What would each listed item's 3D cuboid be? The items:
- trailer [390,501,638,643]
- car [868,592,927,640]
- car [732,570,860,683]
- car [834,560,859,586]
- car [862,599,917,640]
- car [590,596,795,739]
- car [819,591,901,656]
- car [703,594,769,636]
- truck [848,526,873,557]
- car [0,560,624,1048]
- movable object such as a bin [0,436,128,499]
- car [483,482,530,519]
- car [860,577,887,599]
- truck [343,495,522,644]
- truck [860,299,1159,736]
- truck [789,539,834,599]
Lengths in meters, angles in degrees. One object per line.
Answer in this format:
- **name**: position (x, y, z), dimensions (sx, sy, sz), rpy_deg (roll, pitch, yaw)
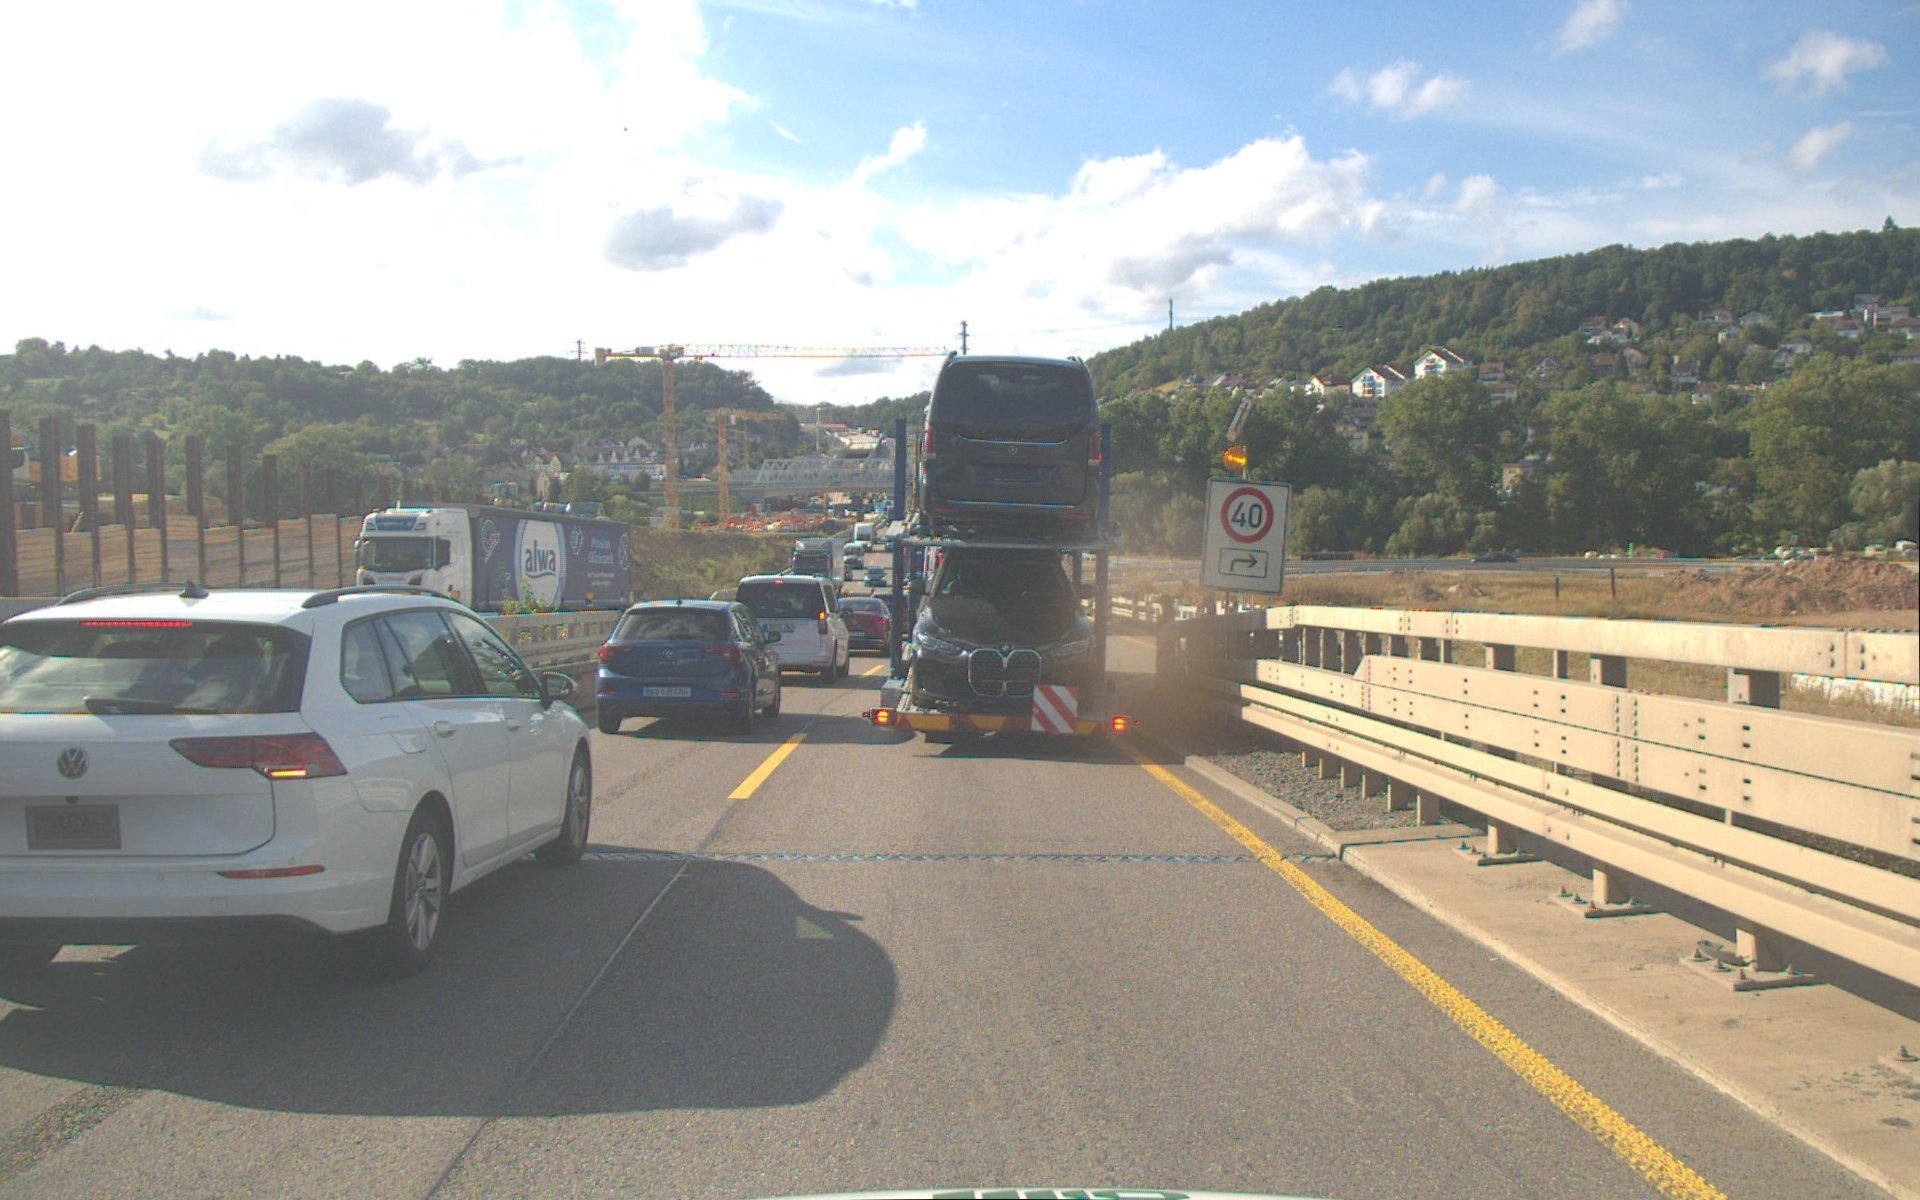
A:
- **trailer**: position (-14.718, -0.766, 56.461), dimensions (2.630, 4.229, 13.823), rpy_deg (1, -1, 9)
- **car**: position (-2.136, 0.553, 57.651), dimensions (1.953, 1.579, 3.999), rpy_deg (1, -1, -1)
- **car**: position (-2.824, 0.456, 29.218), dimensions (1.785, 1.823, 4.000), rpy_deg (1, -1, 1)
- **car**: position (-11.487, -2.759, 167.794), dimensions (2.213, 2.444, 5.864), rpy_deg (1, -1, -2)
- **car**: position (-2.817, 0.784, 66.798), dimensions (1.952, 1.579, 4.000), rpy_deg (1, -1, 1)
- **car**: position (-2.998, 0.709, 19.325), dimensions (1.686, 1.447, 4.000), rpy_deg (2, 0, 0)
- **car**: position (-2.553, 0.599, 43.189), dimensions (1.953, 1.584, 4.399), rpy_deg (1, -1, -1)
- **car**: position (-9.898, 0.665, 73.430), dimensions (1.883, 1.798, 4.329), rpy_deg (1, -1, 6)
- **truck**: position (-12.022, -7.086, 200.380), dimensions (2.645, 3.369, 7.536), rpy_deg (1, -1, 0)
- **car**: position (-2.849, 0.668, 7.454), dimensions (1.734, 1.517, 4.516), rpy_deg (-1, -1, 0)
- **movable object such as a bin**: position (-53.650, -7.855, 98.523), dimensions (5.623, 3.328, 4.514), rpy_deg (1, -1, 11)
- **car**: position (-33.369, -7.309, 121.914), dimensions (1.953, 2.177, 5.320), rpy_deg (-4, 0, -1)
- **car**: position (-7.161, -0.956, 137.353), dimensions (1.952, 1.757, 4.122), rpy_deg (1, -1, 0)
- **truck**: position (-15.795, -0.841, 50.022), dimensions (2.654, 4.210, 5.975), rpy_deg (1, -1, 9)
- **truck**: position (0.283, -0.685, 25.002), dimensions (2.697, 4.024, 18.883), rpy_deg (2, -1, -1)
- **truck**: position (-9.958, -2.020, 111.295), dimensions (2.721, 3.855, 6.014), rpy_deg (1, -1, -3)
